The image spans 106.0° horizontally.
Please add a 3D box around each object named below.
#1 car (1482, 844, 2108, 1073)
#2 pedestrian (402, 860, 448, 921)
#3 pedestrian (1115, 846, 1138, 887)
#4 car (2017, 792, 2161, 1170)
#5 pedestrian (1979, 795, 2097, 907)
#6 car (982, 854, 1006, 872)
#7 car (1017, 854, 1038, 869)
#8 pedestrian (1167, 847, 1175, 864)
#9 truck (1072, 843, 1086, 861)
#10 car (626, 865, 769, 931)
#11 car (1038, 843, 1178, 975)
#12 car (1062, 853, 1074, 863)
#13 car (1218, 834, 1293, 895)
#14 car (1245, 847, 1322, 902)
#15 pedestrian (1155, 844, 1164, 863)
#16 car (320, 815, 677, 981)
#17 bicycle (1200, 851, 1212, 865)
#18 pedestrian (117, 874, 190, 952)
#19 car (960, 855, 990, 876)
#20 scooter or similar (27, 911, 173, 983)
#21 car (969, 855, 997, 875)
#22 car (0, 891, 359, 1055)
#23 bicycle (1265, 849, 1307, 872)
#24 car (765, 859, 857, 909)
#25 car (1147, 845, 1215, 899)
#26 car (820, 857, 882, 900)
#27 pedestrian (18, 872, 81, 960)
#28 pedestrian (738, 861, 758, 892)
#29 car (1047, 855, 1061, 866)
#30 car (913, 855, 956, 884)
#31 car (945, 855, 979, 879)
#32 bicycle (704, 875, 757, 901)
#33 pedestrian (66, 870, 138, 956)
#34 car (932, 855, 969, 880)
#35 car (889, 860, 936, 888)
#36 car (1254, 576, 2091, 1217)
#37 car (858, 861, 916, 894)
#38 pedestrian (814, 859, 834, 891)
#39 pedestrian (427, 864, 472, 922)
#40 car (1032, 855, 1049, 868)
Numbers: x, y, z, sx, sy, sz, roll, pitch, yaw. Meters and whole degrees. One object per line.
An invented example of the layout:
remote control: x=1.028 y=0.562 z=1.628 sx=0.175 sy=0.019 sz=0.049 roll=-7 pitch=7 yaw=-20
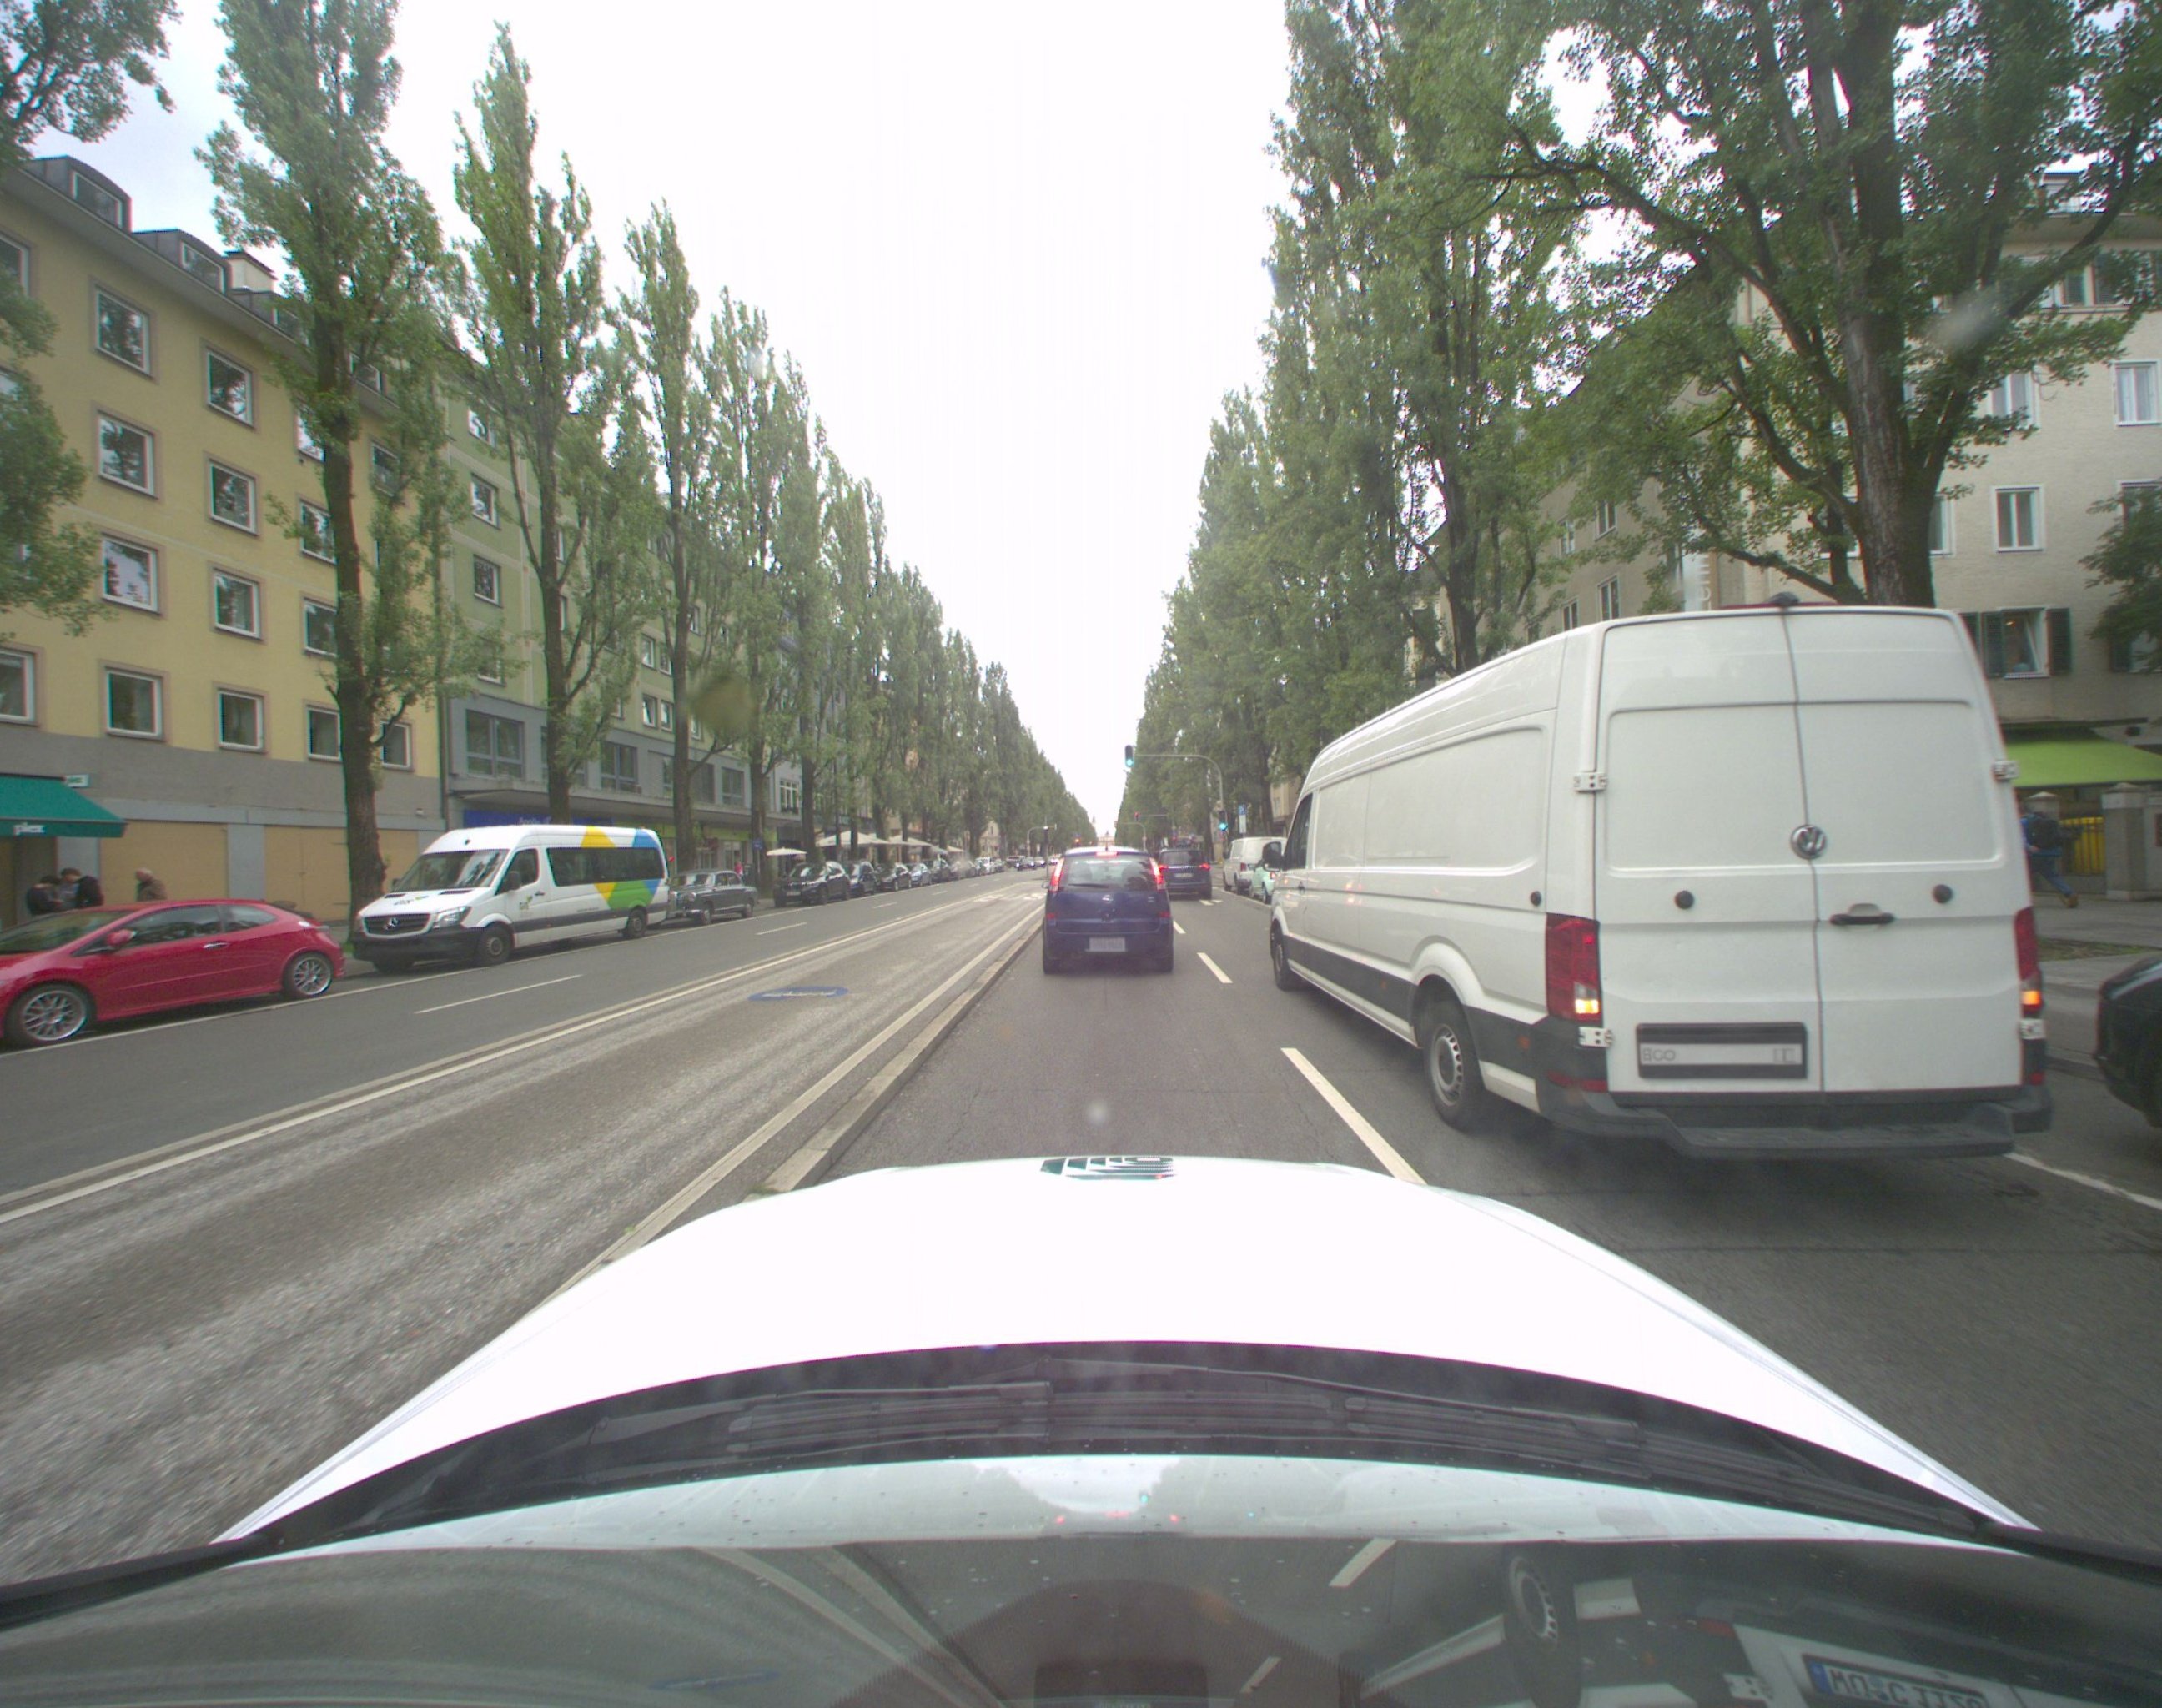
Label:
car: x=5.576 y=0.647 z=7.291 sx=1.705 sy=1.393 sz=4.340 roll=-1 pitch=0 yaw=-2
pedestrian: x=-19.935 y=1.109 z=24.761 sx=0.694 sy=1.795 sz=0.728 roll=-2 pitch=0 yaw=6
pedestrian: x=1.945 y=0.535 z=34.789 sx=0.857 sy=1.684 sz=0.626 roll=-2 pitch=0 yaw=-2
car: x=5.554 y=0.535 z=1.832 sx=1.797 sy=1.637 sz=4.447 roll=-1 pitch=0 yaw=0
pedestrian: x=15.125 y=-0.049 z=12.897 sx=0.794 sy=1.677 sz=0.878 roll=-2 pitch=0 yaw=3
car: x=-8.858 y=0.935 z=83.300 sx=1.859 sy=1.665 sz=4.122 roll=-4 pitch=0 yaw=2
car: x=-5.825 y=0.843 z=88.735 sx=1.691 sy=1.462 sz=4.715 roll=-4 pitch=0 yaw=2
pedestrian: x=9.543 y=0.132 z=86.736 sx=0.636 sy=1.827 sz=0.885 roll=0 pitch=-1 yaw=-8
truck: x=-0.382 y=-0.427 z=159.577 sx=2.374 sy=3.346 sz=7.114 roll=-2 pitch=0 yaw=2
car: x=-10.991 y=1.193 z=23.738 sx=1.859 sy=1.552 sz=4.416 roll=-4 pitch=0 yaw=2
car: x=0.396 y=0.660 z=11.866 sx=1.665 sy=1.568 sz=4.002 roll=-1 pitch=0 yaw=2
car: x=-2.050 y=0.589 z=130.204 sx=1.728 sy=1.465 sz=3.366 roll=-2 pitch=0 yaw=2
car: x=6.169 y=0.337 z=29.278 sx=1.781 sy=1.946 sz=4.732 roll=-2 pitch=0 yaw=2
car: x=5.953 y=0.567 z=24.271 sx=1.535 sy=1.492 sz=3.525 roll=-1 pitch=0 yaw=2
pedestrian: x=7.949 y=-0.051 z=82.300 sx=0.719 sy=1.827 sz=0.885 roll=0 pitch=-1 yaw=-8
car: x=-11.150 y=0.705 z=16.640 sx=1.998 sy=2.567 sz=6.915 roll=-4 pitch=0 yaw=2
bicycle: x=12.258 y=0.359 z=79.903 sx=0.769 sy=1.349 sz=2.450 roll=-2 pitch=0 yaw=1
pedestrian: x=-20.429 y=1.282 z=17.951 sx=0.694 sy=1.636 sz=0.727 roll=-2 pitch=0 yaw=4
car: x=-9.195 y=0.990 z=70.763 sx=1.859 sy=1.665 sz=4.122 roll=-4 pitch=0 yaw=2
scooter or similar: x=-15.931 y=1.502 z=13.245 sx=1.768 sy=1.026 sz=0.421 roll=-3 pitch=0 yaw=-2
car: x=-9.093 y=0.987 z=76.025 sx=1.859 sy=1.665 sz=4.122 roll=-4 pitch=0 yaw=2
car: x=-11.386 y=1.299 z=9.685 sx=1.731 sy=1.419 sz=4.150 roll=-4 pitch=0 yaw=2
bicycle: x=11.857 y=0.365 z=47.145 sx=2.220 sy=1.204 sz=0.626 roll=-3 pitch=0 yaw=-1
car: x=-10.508 y=1.103 z=32.068 sx=1.859 sy=1.664 sz=4.613 roll=-4 pitch=0 yaw=2
car: x=3.227 y=0.535 z=27.046 sx=1.889 sy=1.622 sz=4.002 roll=-1 pitch=0 yaw=2
car: x=-10.494 y=1.080 z=37.454 sx=1.704 sy=1.721 sz=3.920 roll=-4 pitch=0 yaw=-1
pedestrian: x=-19.911 y=1.182 z=15.721 sx=0.691 sy=1.636 sz=0.567 roll=-3 pitch=0 yaw=26
pedestrian: x=-18.546 y=1.245 z=45.416 sx=0.753 sy=1.686 sz=0.675 roll=-3 pitch=-1 yaw=3
car: x=-4.142 y=1.020 z=125.989 sx=1.859 sy=1.665 sz=4.122 roll=-2 pitch=0 yaw=2
car: x=-9.664 y=0.991 z=54.061 sx=1.859 sy=1.665 sz=4.402 roll=-4 pitch=0 yaw=2
car: x=-9.477 y=1.006 z=65.238 sx=1.859 sy=1.665 sz=4.122 roll=-4 pitch=0 yaw=2
bicycle: x=-15.048 y=1.446 z=34.998 sx=1.943 sy=1.095 sz=0.718 roll=0 pitch=0 yaw=-5
pedestrian: x=-19.433 y=1.153 z=16.169 sx=0.691 sy=1.636 sz=0.731 roll=-3 pitch=0 yaw=26
car: x=-9.602 y=0.988 z=60.364 sx=1.859 sy=1.665 sz=4.122 roll=-4 pitch=0 yaw=2
car: x=-9.959 y=1.165 z=48.343 sx=1.727 sy=1.425 sz=4.145 roll=-4 pitch=0 yaw=2
car: x=3.036 y=0.161 z=6.582 sx=2.055 sy=2.492 sz=6.734 roll=-1 pitch=0 yaw=2
car: x=-10.166 y=1.173 z=42.933 sx=1.792 sy=1.488 sz=4.352 roll=-4 pitch=0 yaw=2
pedestrian: x=-13.900 y=1.132 z=44.040 sx=0.753 sy=1.686 sz=0.675 roll=-3 pitch=-1 yaw=3
pedestrian: x=-19.130 y=1.170 z=24.689 sx=0.694 sy=1.700 sz=0.728 roll=-2 pitch=0 yaw=6
car: x=-4.966 y=0.913 z=100.014 sx=1.739 sy=1.434 sz=4.131 roll=-4 pitch=0 yaw=2
